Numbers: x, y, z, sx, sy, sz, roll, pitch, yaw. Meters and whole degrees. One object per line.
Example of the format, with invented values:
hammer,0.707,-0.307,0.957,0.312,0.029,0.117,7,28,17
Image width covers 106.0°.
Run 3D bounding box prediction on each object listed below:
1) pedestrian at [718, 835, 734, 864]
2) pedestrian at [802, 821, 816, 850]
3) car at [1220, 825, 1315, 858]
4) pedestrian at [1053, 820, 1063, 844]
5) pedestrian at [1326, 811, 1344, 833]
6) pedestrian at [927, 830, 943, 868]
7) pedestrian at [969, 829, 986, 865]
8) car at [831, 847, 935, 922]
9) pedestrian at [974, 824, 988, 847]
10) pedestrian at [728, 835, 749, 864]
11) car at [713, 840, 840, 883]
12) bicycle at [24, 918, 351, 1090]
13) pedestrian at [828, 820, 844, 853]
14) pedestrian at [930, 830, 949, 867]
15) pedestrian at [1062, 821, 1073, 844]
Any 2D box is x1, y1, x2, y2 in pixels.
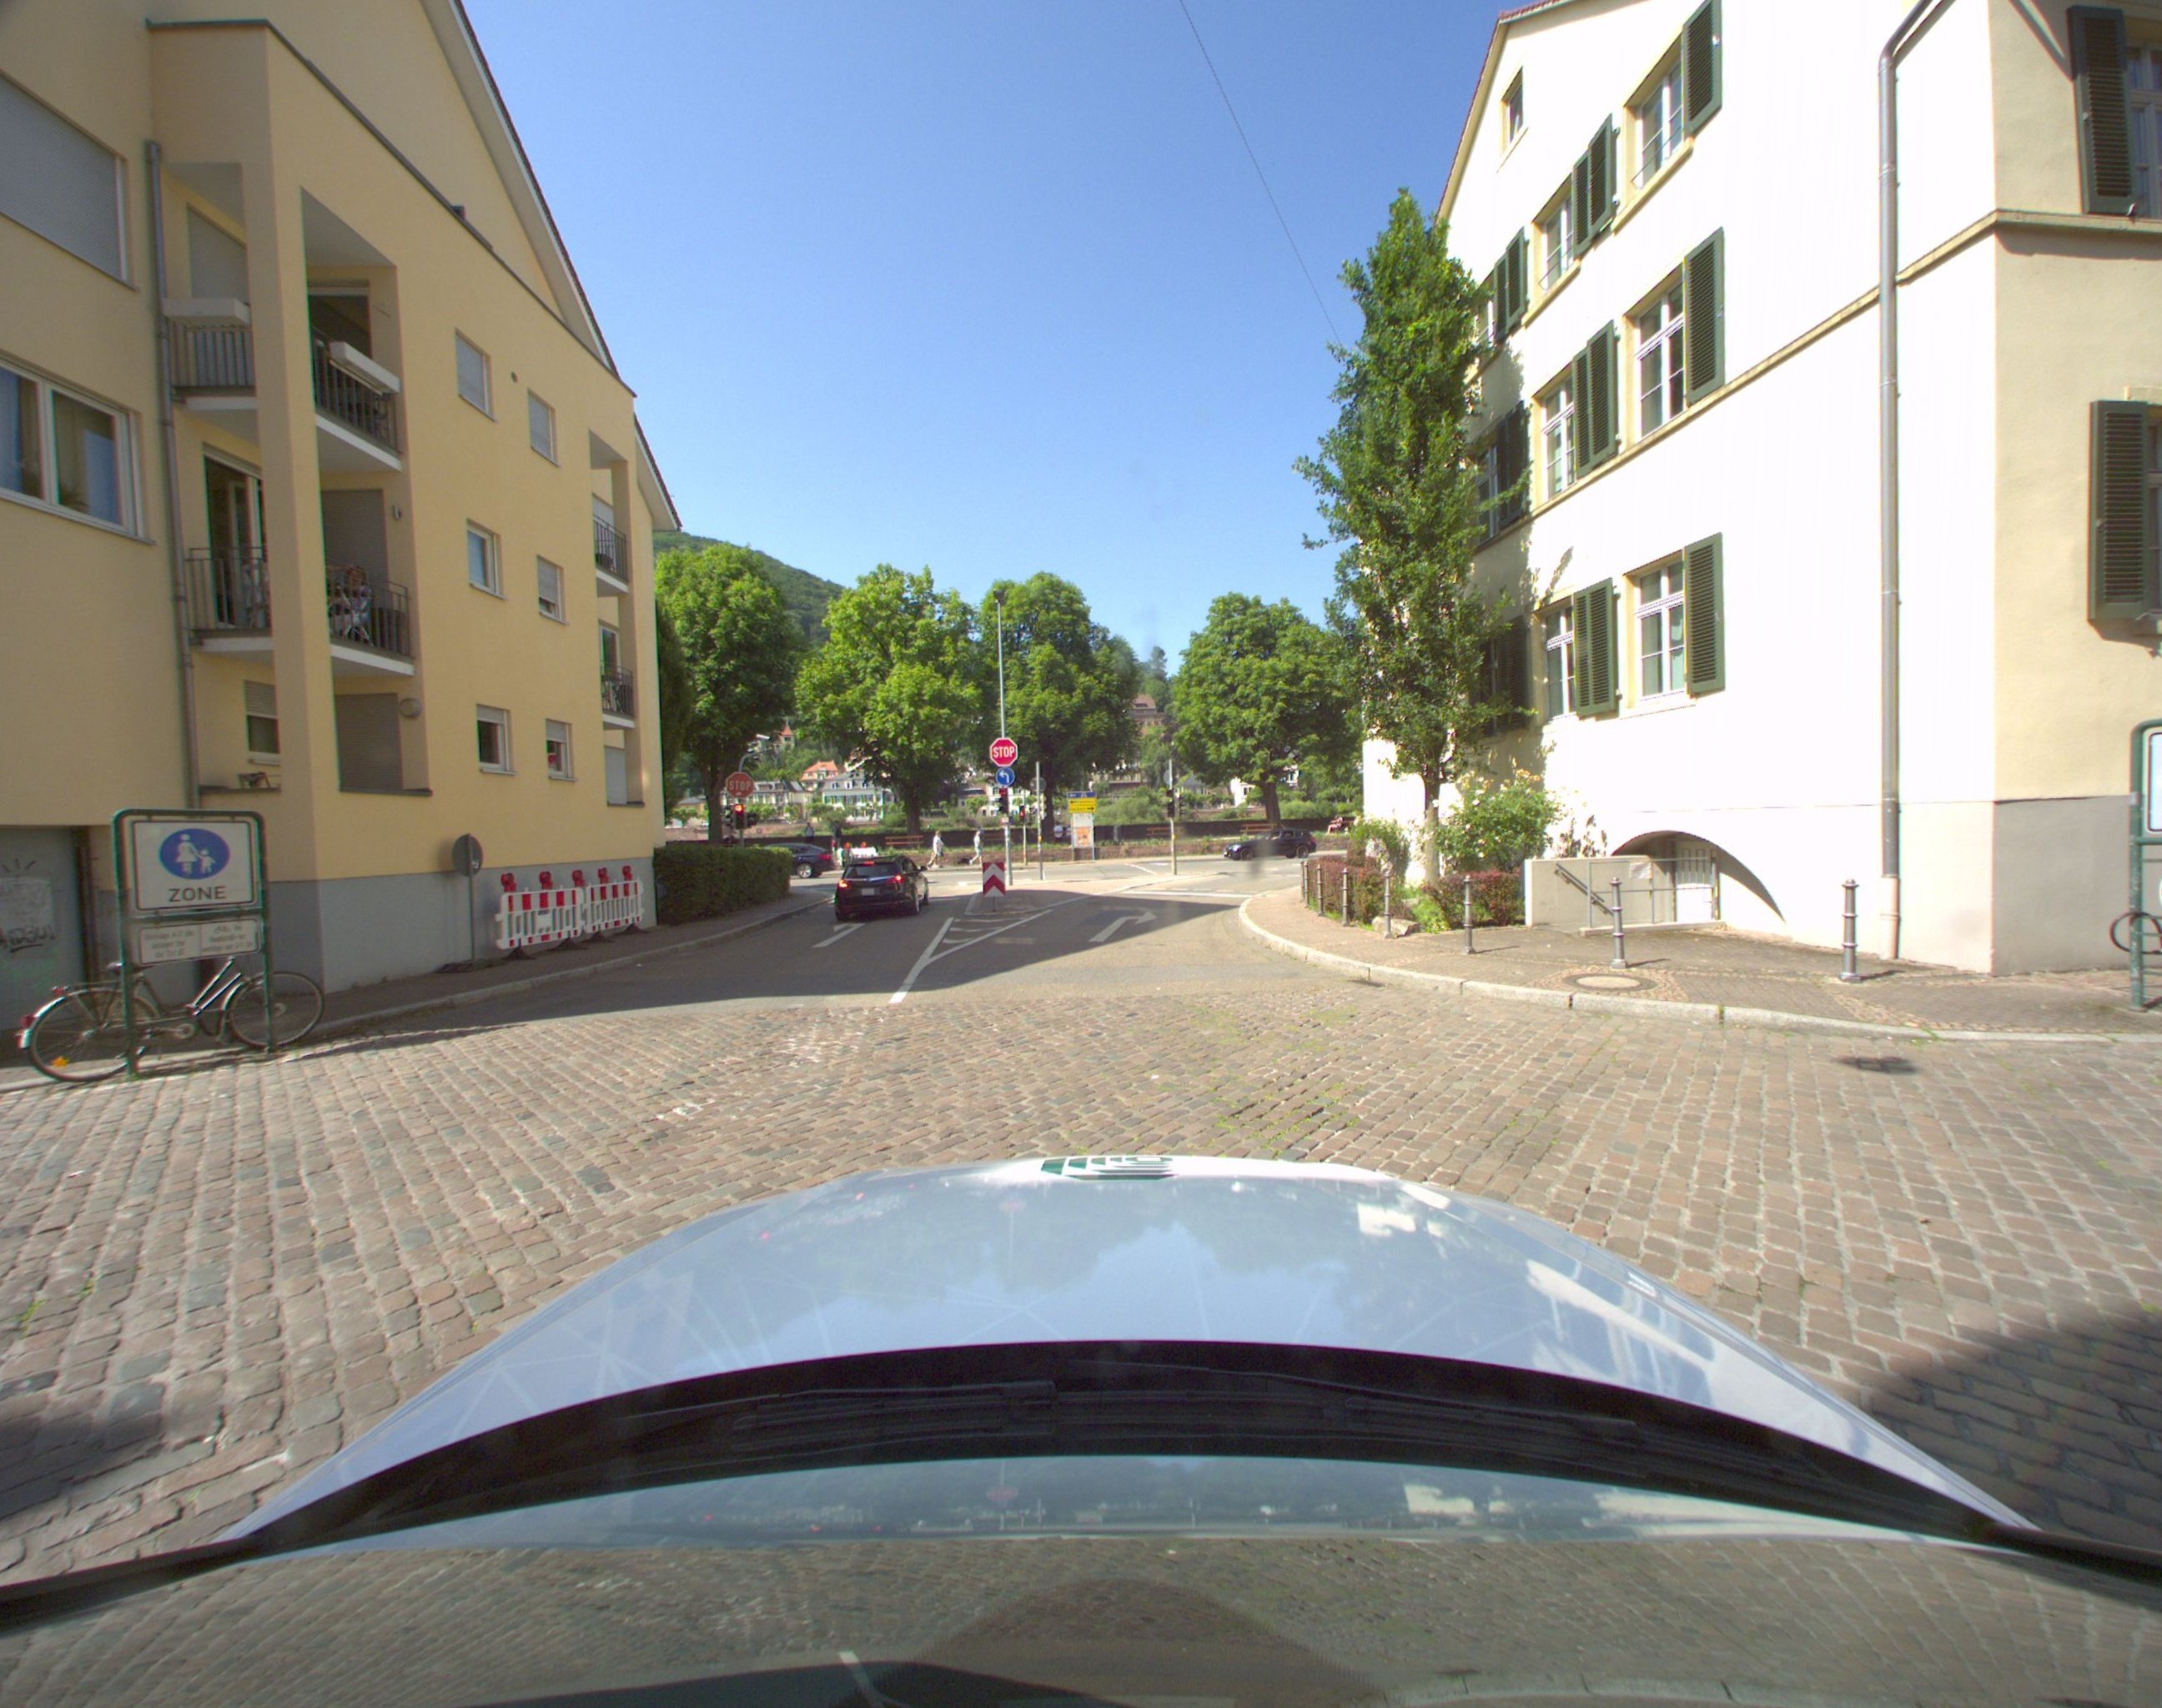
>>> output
pedestrian,-18.644,-0.244,42.765,0.466,1.493,0.804,-2,1,-1
pedestrian,-16.156,-1.094,48.350,0.709,1.731,0.753,-2,1,-15
car,8.723,-0.594,38.221,3.980,1.418,1.872,-2,1,-5
pedestrian,-1.251,-1.195,44.659,0.551,1.279,0.703,0,-2,-3
pedestrian,14.435,-1.836,46.320,0.795,1.211,0.715,0,-2,-2
pedestrian,-7.103,-0.256,39.637,0.576,1.801,0.705,-3,0,-2
pedestrian,-5.191,-0.334,40.860,0.686,1.769,0.717,-3,0,-1
car,-4.747,0.645,20.185,1.711,1.462,4.716,-4,2,-5
pedestrian,-5.393,-0.995,43.965,0.642,1.228,0.412,-3,0,-15
pedestrian,-18.106,-0.250,43.040,0.465,1.479,1.385,-2,1,-1
car,-13.187,0.319,35.518,4.757,1.517,1.902,-4,1,-6
bicycle,-7.607,1.209,7.098,0.388,1.079,1.917,-2,1,14
pedestrian,-13.843,-0.995,46.050,0.766,1.857,0.751,-2,1,-23
pedestrian,-7.078,-0.292,40.746,0.720,1.801,0.633,-3,0,-2
pedestrian,-0.731,-1.182,44.876,0.552,1.228,0.984,0,-2,-4
